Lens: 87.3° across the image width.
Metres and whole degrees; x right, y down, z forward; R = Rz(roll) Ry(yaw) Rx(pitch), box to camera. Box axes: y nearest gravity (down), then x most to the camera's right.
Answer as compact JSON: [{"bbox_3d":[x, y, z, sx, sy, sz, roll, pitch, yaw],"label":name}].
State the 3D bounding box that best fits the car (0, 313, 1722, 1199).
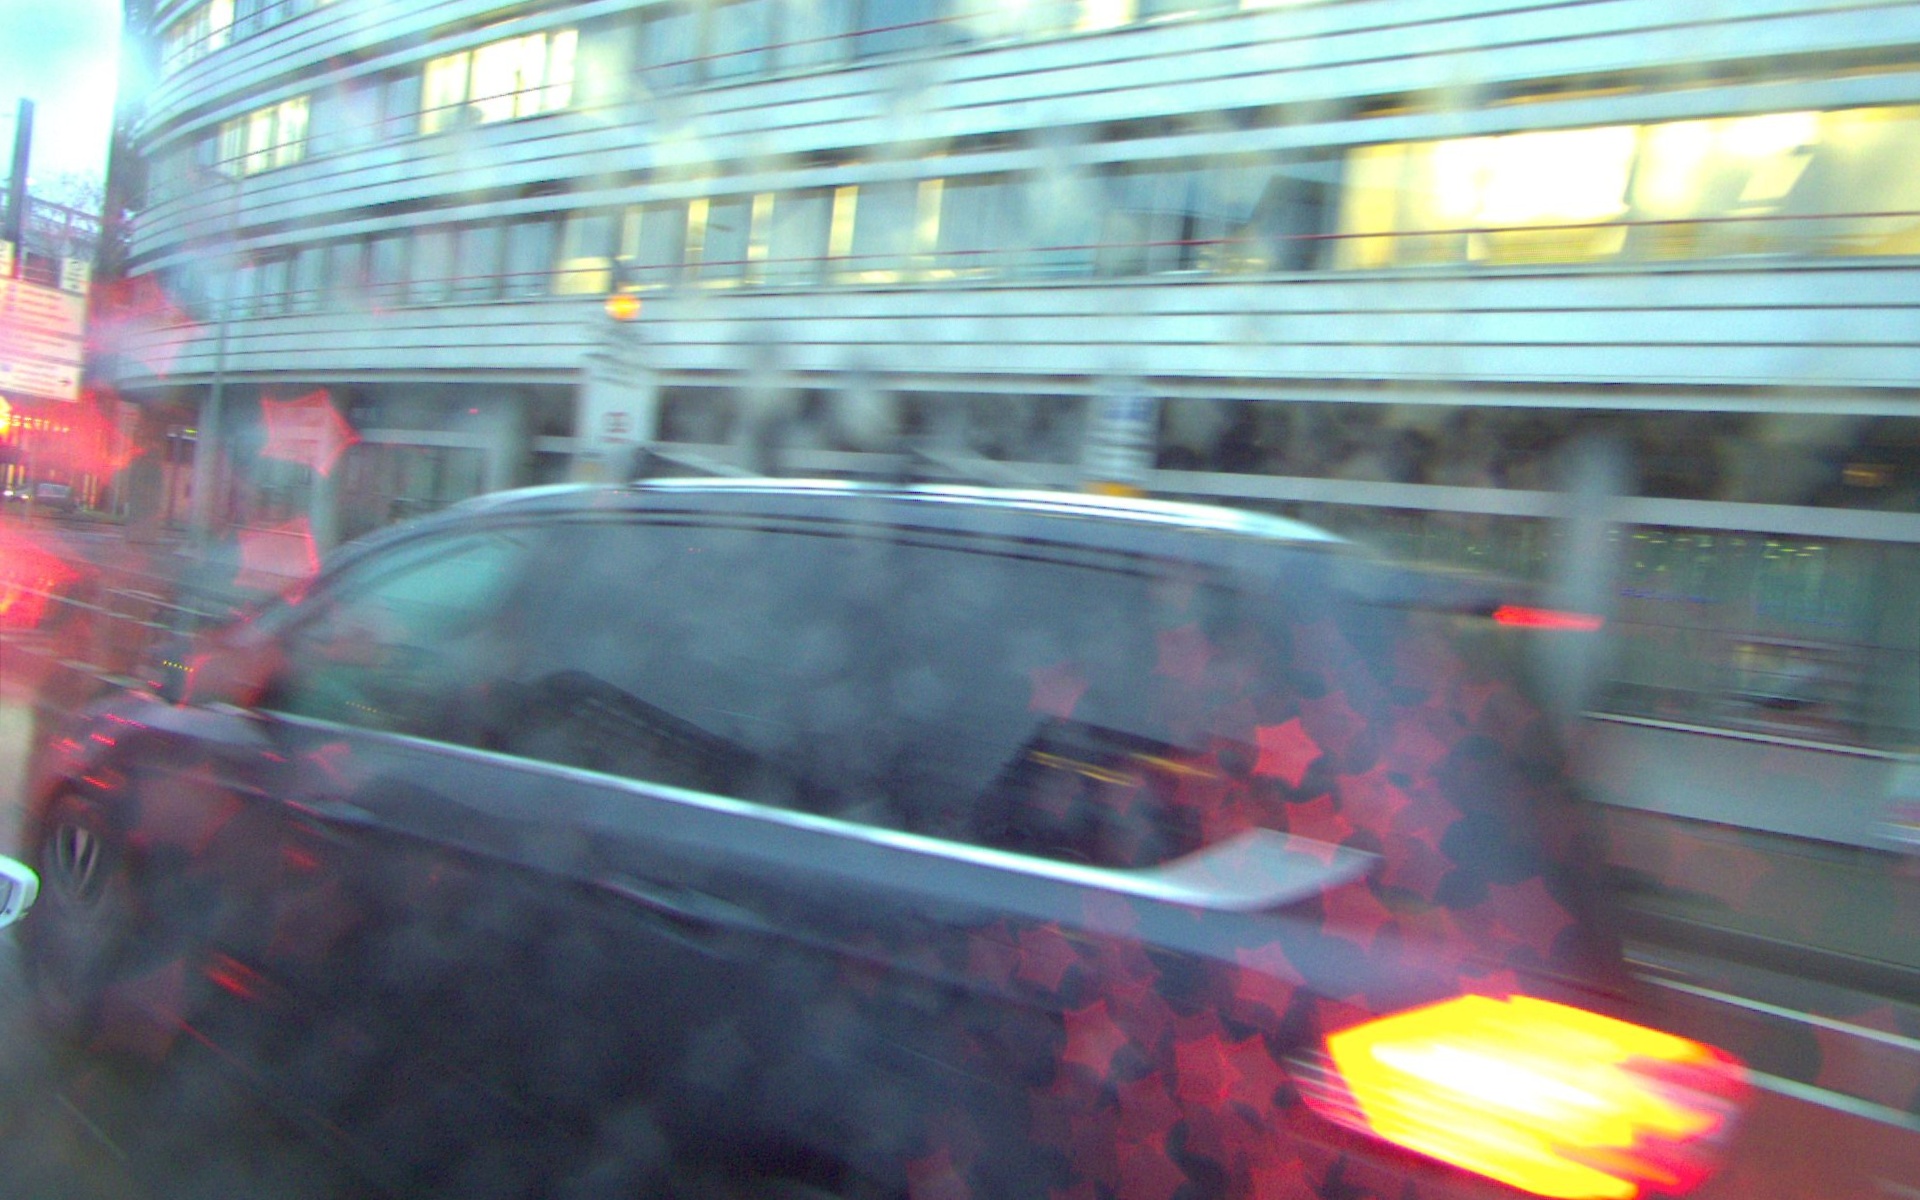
[{"bbox_3d":[-0.895,0.494,2.926,4.593,1.832,1.886,7,-1,31],"label":"car"}]
